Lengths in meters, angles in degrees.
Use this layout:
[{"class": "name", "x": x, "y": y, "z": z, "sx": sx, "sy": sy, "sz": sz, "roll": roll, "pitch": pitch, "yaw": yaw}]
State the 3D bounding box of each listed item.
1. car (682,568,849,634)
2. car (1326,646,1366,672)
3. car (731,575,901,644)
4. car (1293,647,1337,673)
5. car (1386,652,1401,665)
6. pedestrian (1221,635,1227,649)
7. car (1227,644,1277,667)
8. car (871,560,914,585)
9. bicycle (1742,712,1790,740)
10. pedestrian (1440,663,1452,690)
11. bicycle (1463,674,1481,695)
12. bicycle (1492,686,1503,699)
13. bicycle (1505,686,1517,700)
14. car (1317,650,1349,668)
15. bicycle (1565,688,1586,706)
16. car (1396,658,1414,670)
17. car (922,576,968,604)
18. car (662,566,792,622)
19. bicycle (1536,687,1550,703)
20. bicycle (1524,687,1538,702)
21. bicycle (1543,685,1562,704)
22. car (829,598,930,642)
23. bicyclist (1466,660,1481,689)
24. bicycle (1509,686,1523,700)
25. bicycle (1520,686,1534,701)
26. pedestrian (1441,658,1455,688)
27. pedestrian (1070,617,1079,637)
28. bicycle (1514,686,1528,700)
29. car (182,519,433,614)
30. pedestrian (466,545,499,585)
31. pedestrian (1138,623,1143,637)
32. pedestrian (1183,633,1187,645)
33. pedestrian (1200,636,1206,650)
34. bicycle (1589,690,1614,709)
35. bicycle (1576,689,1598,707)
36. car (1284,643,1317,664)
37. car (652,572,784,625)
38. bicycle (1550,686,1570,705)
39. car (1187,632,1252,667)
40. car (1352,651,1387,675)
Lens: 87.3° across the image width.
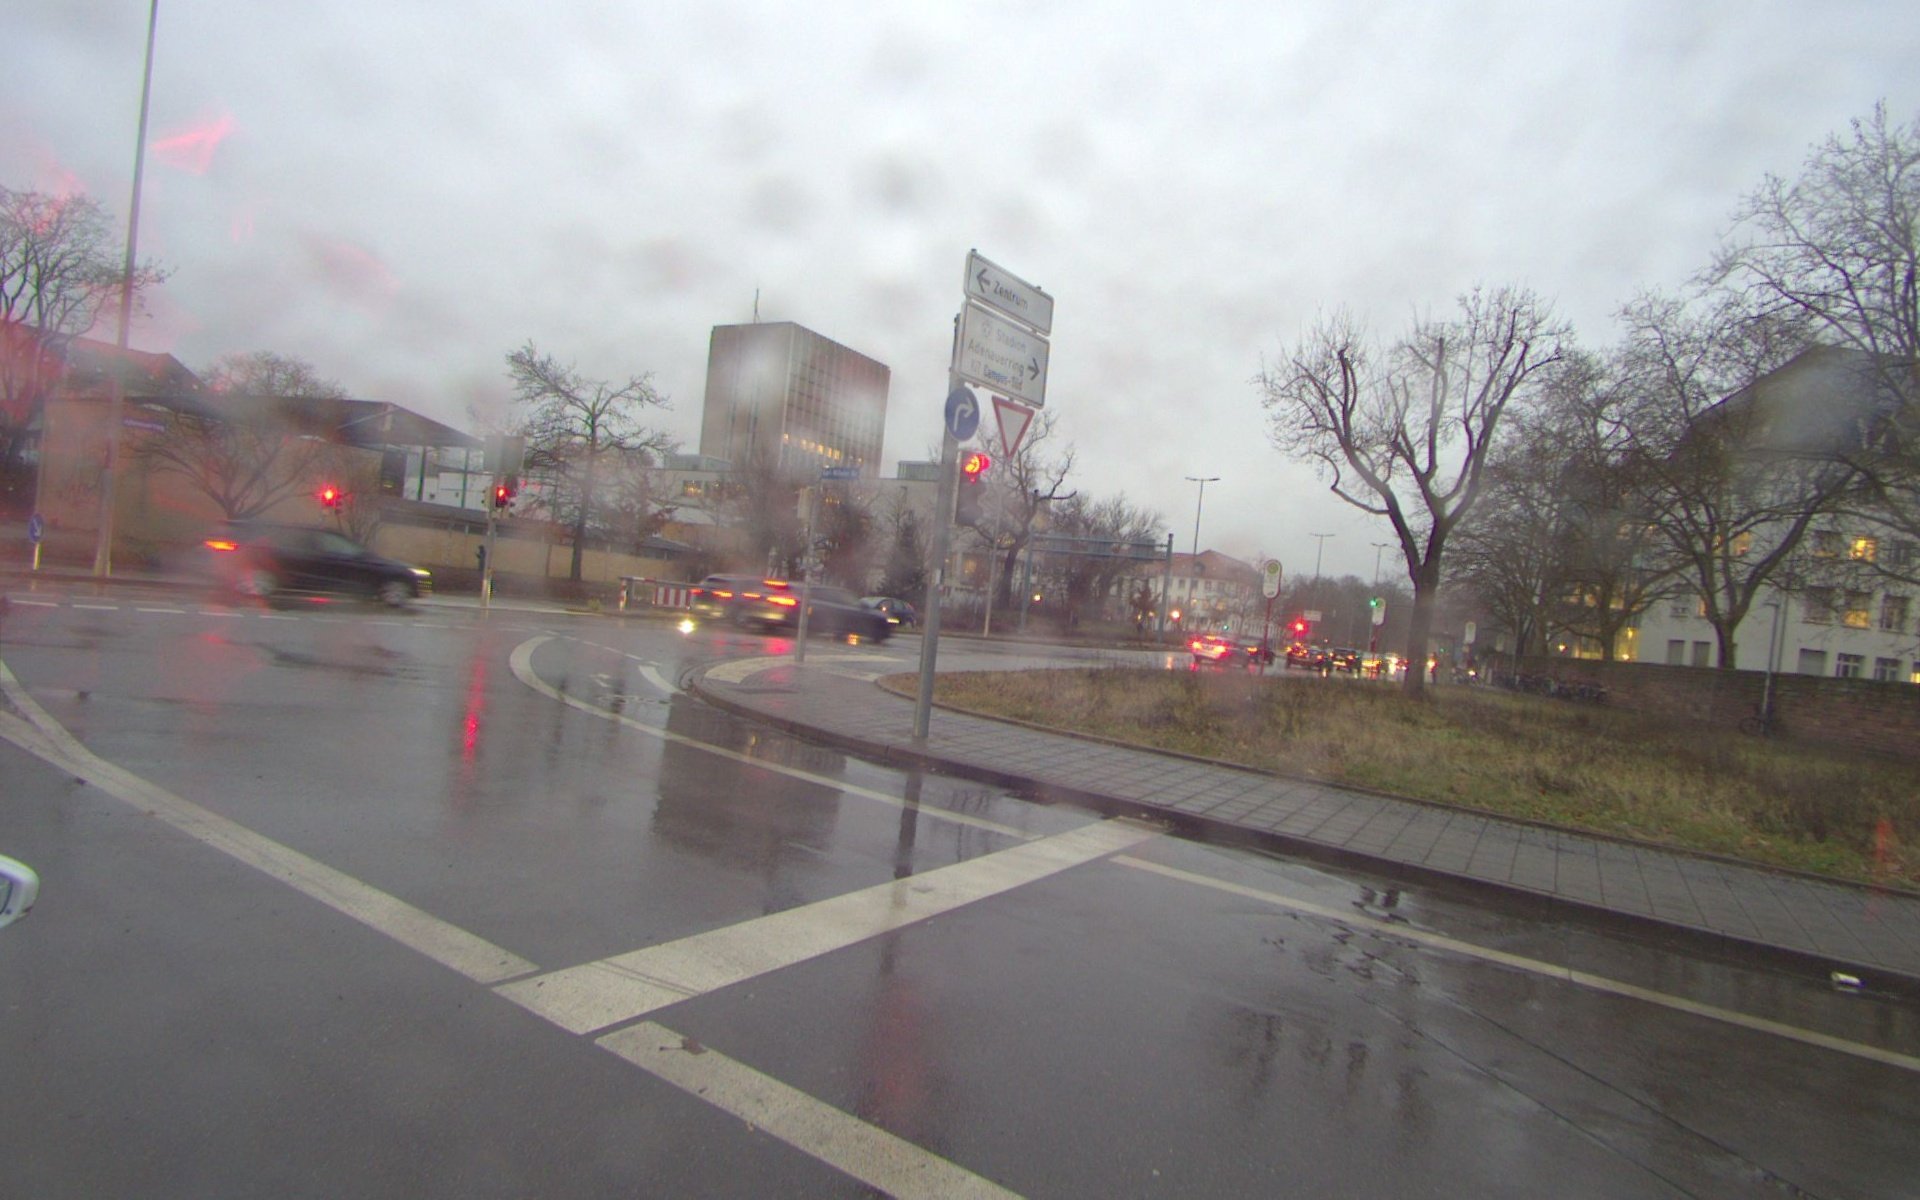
[{"class": "car", "x": -5.699, "y": 0.066, "z": 29.912, "sx": 4.563, "sy": 1.496, "sz": 1.788, "roll": 6, "pitch": 0, "yaw": -44}, {"class": "car", "x": 29.820, "y": 4.581, "z": 77.641, "sx": 1.812, "sy": 1.710, "sz": 4.311, "roll": 6, "pitch": -1, "yaw": 34}, {"class": "car", "x": -3.897, "y": 0.311, "z": 27.928, "sx": 1.785, "sy": 1.496, "sz": 4.572, "roll": 6, "pitch": 0, "yaw": 40}, {"class": "car", "x": 25.272, "y": 4.255, "z": 71.507, "sx": 1.812, "sy": 1.602, "sz": 4.124, "roll": 6, "pitch": 0, "yaw": 35}, {"class": "car", "x": 69.835, "y": 9.383, "z": 161.982, "sx": 1.834, "sy": 1.783, "sz": 3.993, "roll": 7, "pitch": 1, "yaw": 27}, {"class": "pedestrian", "x": 32.967, "y": 5.251, "z": 125.663, "sx": 0.404, "sy": 1.713, "sz": 0.561, "roll": 7, "pitch": 2, "yaw": 28}, {"class": "car", "x": 19.983, "y": 3.791, "z": 68.653, "sx": 1.907, "sy": 1.318, "sz": 4.686, "roll": 6, "pitch": 0, "yaw": 33}, {"class": "car", "x": -7.139, "y": -2.918, "z": 106.395, "sx": 2.014, "sy": 2.102, "sz": 4.892, "roll": 6, "pitch": 0, "yaw": 30}, {"class": "bicycle", "x": 28.200, "y": 4.399, "z": 35.221, "sx": 0.387, "sy": 0.834, "sz": 1.386, "roll": 7, "pitch": -2, "yaw": -4}, {"class": "pedestrian", "x": 30.149, "y": 4.733, "z": 62.414, "sx": 0.462, "sy": 1.623, "sz": 0.486, "roll": 7, "pitch": -1, "yaw": 25}, {"class": "bicycle", "x": 31.219, "y": 5.162, "z": 61.315, "sx": 0.599, "sy": 1.181, "sz": 1.682, "roll": 7, "pitch": -2, "yaw": 19}, {"class": "bicycle", "x": 36.388, "y": 6.247, "z": 68.103, "sx": 0.387, "sy": 0.795, "sz": 1.532, "roll": 7, "pitch": -2, "yaw": 20}, {"class": "bicycle", "x": 34.848, "y": 5.866, "z": 63.622, "sx": 0.387, "sy": 0.795, "sz": 1.532, "roll": 7, "pitch": -2, "yaw": 20}, {"class": "car", "x": 31.909, "y": 5.036, "z": 86.037, "sx": 1.673, "sy": 1.318, "sz": 3.757, "roll": 6, "pitch": 0, "yaw": 32}, {"class": "bicycle", "x": 31.036, "y": 4.875, "z": 50.740, "sx": 0.343, "sy": 0.848, "sz": 1.493, "roll": 7, "pitch": -2, "yaw": 13}, {"class": "car", "x": 60.329, "y": 8.659, "z": 136.427, "sx": 1.620, "sy": 1.346, "sz": 3.671, "roll": 7, "pitch": 1, "yaw": 31}, {"class": "car", "x": -1.466, "y": -1.002, "z": 103.012, "sx": 2.014, "sy": 2.452, "sz": 5.326, "roll": 6, "pitch": 0, "yaw": 30}, {"class": "car", "x": -9.836, "y": -0.204, "z": 42.985, "sx": 2.016, "sy": 1.903, "sz": 5.320, "roll": 6, "pitch": 0, "yaw": 35}, {"class": "bicycle", "x": 32.410, "y": 5.290, "z": 55.949, "sx": 0.387, "sy": 0.795, "sz": 1.607, "roll": 7, "pitch": -2, "yaw": 22}, {"class": "bicycle", "x": 32.838, "y": 5.404, "z": 57.862, "sx": 0.387, "sy": 0.795, "sz": 1.532, "roll": 7, "pitch": -2, "yaw": 19}, {"class": "bicycle", "x": 31.839, "y": 5.074, "z": 54.083, "sx": 0.387, "sy": 0.927, "sz": 1.532, "roll": 7, "pitch": -2, "yaw": 15}, {"class": "car", "x": -3.432, "y": 0.890, "z": 43.509, "sx": 1.784, "sy": 1.496, "sz": 4.411, "roll": 6, "pitch": 0, "yaw": 37}, {"class": "bicyclist", "x": 31.301, "y": 4.549, "z": 61.329, "sx": 0.599, "sy": 1.660, "sz": 0.453, "roll": 7, "pitch": -1, "yaw": 19}, {"class": "bicycle", "x": 34.347, "y": 5.741, "z": 62.148, "sx": 0.387, "sy": 0.795, "sz": 1.532, "roll": 7, "pitch": -2, "yaw": 20}, {"class": "bicycle", "x": 33.321, "y": 5.487, "z": 59.141, "sx": 0.387, "sy": 0.795, "sz": 1.532, "roll": 7, "pitch": -2, "yaw": 20}, {"class": "pedestrian", "x": 34.126, "y": 5.121, "z": 70.327, "sx": 0.557, "sy": 2.040, "sz": 0.595, "roll": 8, "pitch": 2, "yaw": 33}, {"class": "pedestrian", "x": 10.306, "y": 2.464, "z": 90.570, "sx": 0.411, "sy": 1.725, "sz": 0.430, "roll": 8, "pitch": 3, "yaw": 44}, {"class": "bicycle", "x": 33.827, "y": 5.614, "z": 60.659, "sx": 0.387, "sy": 0.795, "sz": 1.532, "roll": 7, "pitch": -2, "yaw": 20}, {"class": "car", "x": -13.369, "y": -0.655, "z": 20.793, "sx": 1.785, "sy": 1.496, "sz": 3.949, "roll": 6, "pitch": 0, "yaw": 40}, {"class": "pedestrian", "x": -21.189, "y": -1.549, "z": 44.632, "sx": 0.783, "sy": 1.624, "sz": 0.960, "roll": 8, "pitch": 2, "yaw": 39}, {"class": "pedestrian", "x": 17.988, "y": 3.023, "z": 100.093, "sx": 0.258, "sy": 1.364, "sz": 0.289, "roll": 8, "pitch": 2, "yaw": 31}, {"class": "pedestrian", "x": 26.295, "y": 4.547, "z": 117.720, "sx": 0.258, "sy": 1.364, "sz": 0.289, "roll": 8, "pitch": 2, "yaw": 31}, {"class": "pedestrian", "x": 29.437, "y": 5.223, "z": 121.850, "sx": 0.404, "sy": 1.713, "sz": 0.427, "roll": 7, "pitch": 2, "yaw": 28}, {"class": "bicycle", "x": 30.272, "y": 4.672, "z": 47.472, "sx": 0.352, "sy": 0.795, "sz": 1.415, "roll": 7, "pitch": -2, "yaw": 8}, {"class": "bicycle", "x": 30.546, "y": 4.769, "z": 48.996, "sx": 0.387, "sy": 0.795, "sz": 1.533, "roll": 7, "pitch": -2, "yaw": 14}, {"class": "car", "x": 30.150, "y": 4.718, "z": 89.006, "sx": 1.811, "sy": 1.602, "sz": 4.127, "roll": 6, "pitch": 0, "yaw": 32}, {"class": "car", "x": -8.654, "y": -0.032, "z": 36.288, "sx": 1.784, "sy": 1.496, "sz": 4.411, "roll": 6, "pitch": 0, "yaw": 37}, {"class": "bicycle", "x": 31.354, "y": 4.979, "z": 52.552, "sx": 0.387, "sy": 0.868, "sz": 1.532, "roll": 7, "pitch": -2, "yaw": 15}, {"class": "car", "x": 13.994, "y": 2.684, "z": 54.054, "sx": 1.907, "sy": 1.571, "sz": 4.687, "roll": 6, "pitch": 0, "yaw": 32}, {"class": "car", "x": 34.391, "y": 5.303, "z": 84.406, "sx": 1.811, "sy": 1.710, "sz": 4.311, "roll": 6, "pitch": 0, "yaw": 32}]
